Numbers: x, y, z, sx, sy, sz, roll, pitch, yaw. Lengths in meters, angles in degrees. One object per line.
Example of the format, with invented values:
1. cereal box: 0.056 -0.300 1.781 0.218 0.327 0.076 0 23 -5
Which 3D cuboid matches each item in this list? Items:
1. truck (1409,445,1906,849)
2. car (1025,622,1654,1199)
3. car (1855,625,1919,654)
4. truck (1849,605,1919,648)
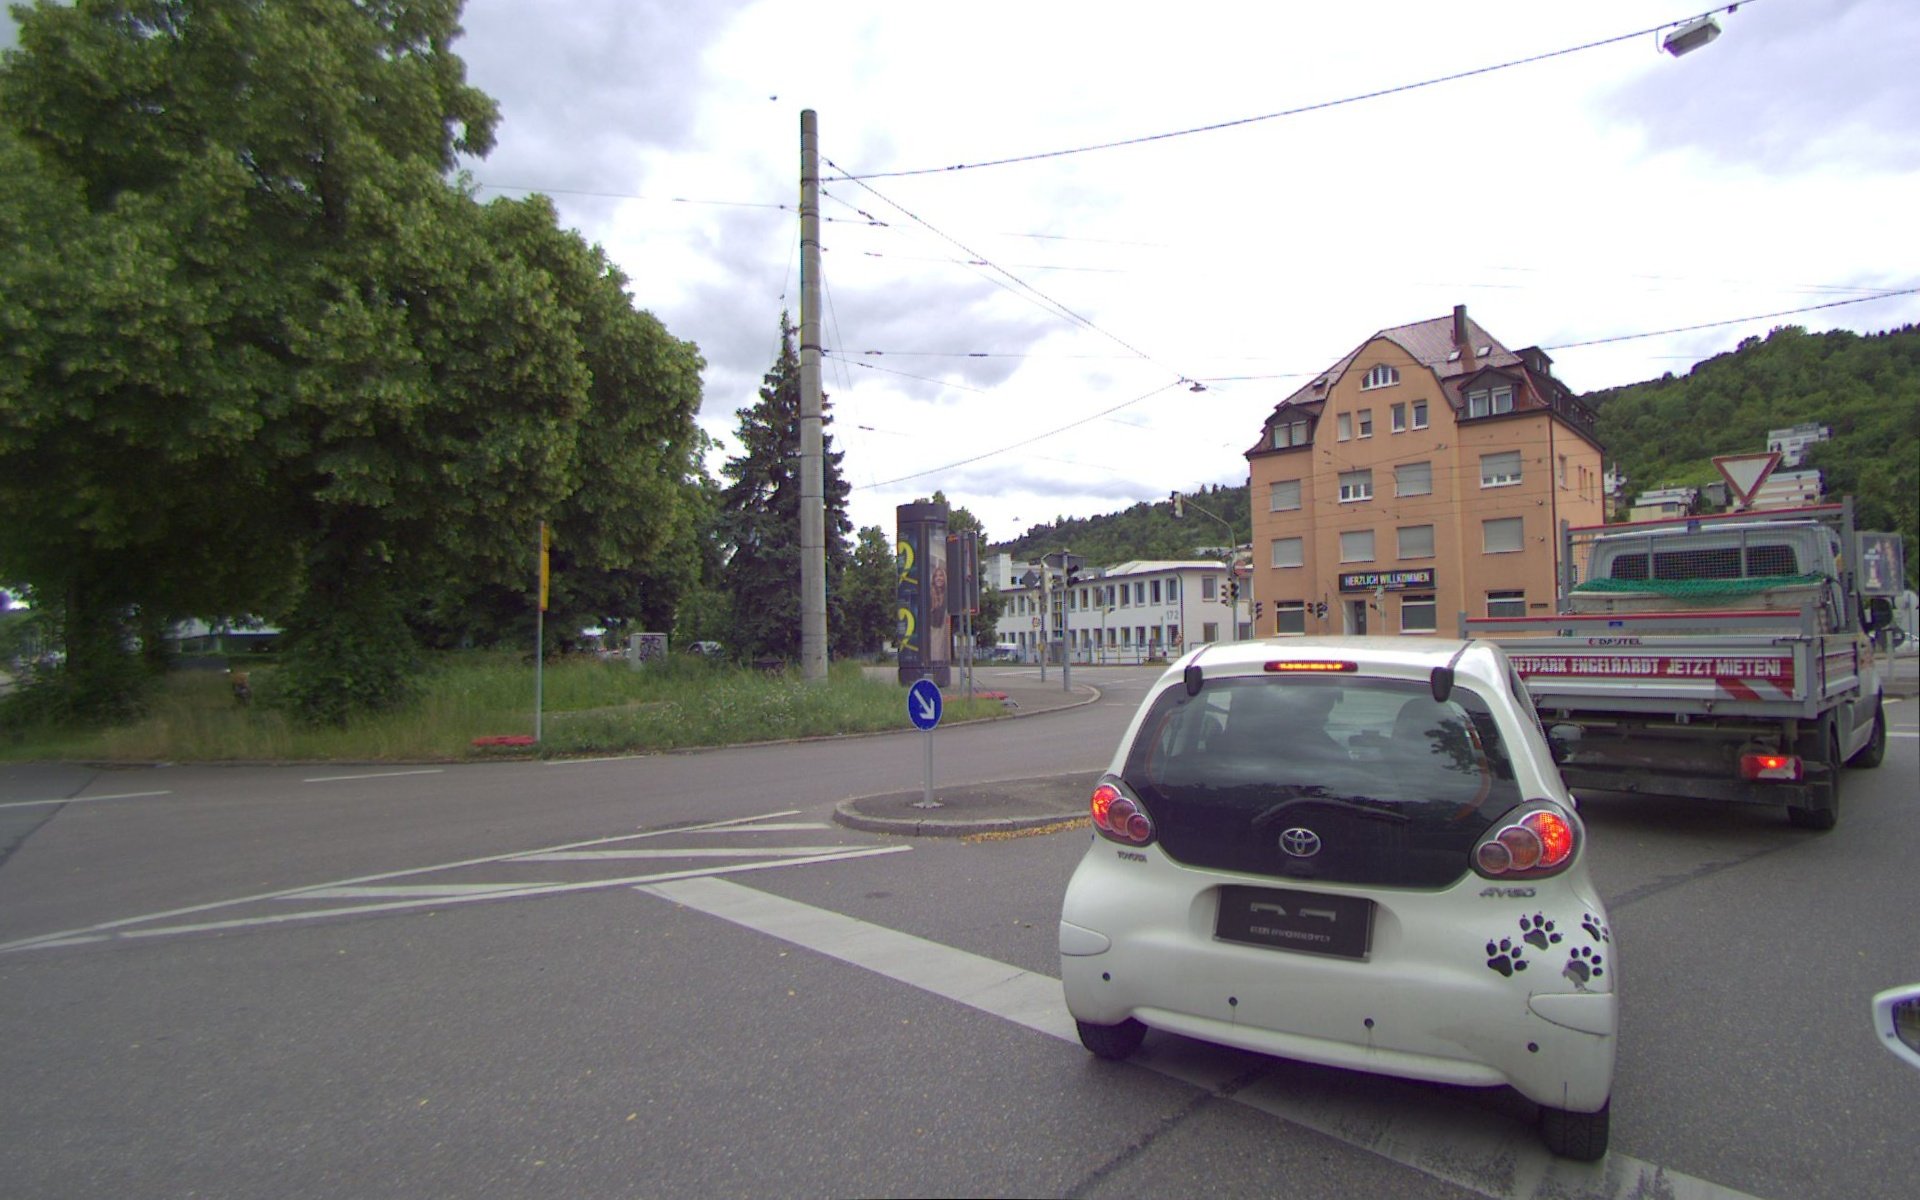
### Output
1. truck: 6.521 0.375 8.988 5.986 2.429 2.399 1 -4 -43
2. car: 1.748 0.867 4.319 1.615 1.451 3.426 -3 -3 28
3. car: 52.925 2.200 56.165 1.764 1.553 4.162 1 -3 -44
4. truck: 55.251 1.516 58.297 5.112 2.424 1.995 -3 -3 33
